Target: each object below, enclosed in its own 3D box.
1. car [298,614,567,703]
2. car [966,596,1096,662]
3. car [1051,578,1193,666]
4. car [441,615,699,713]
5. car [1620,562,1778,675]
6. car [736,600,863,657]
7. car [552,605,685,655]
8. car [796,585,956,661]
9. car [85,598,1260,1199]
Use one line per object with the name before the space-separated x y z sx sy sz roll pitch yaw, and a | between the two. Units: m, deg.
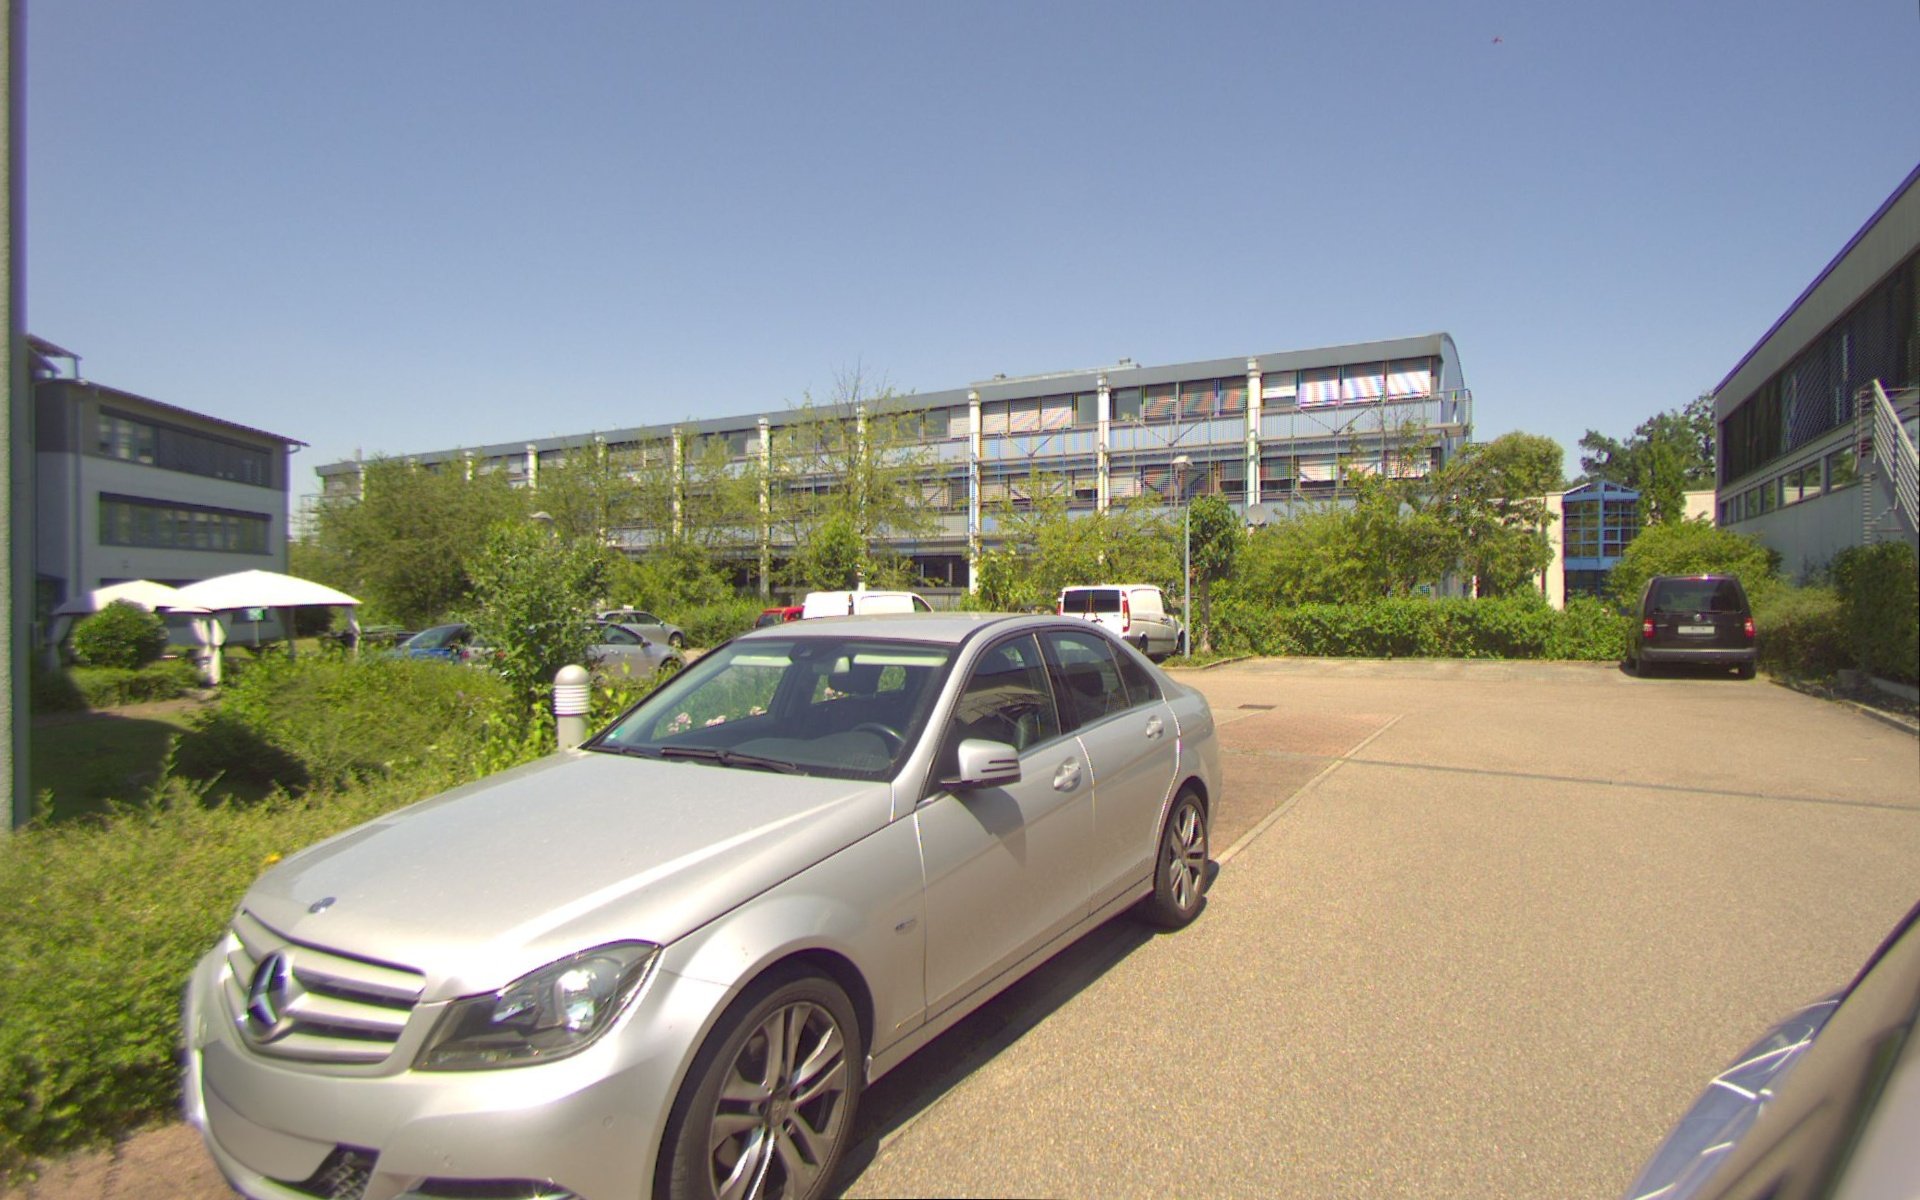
car | -10.425 1.076 20.372 1.840 1.513 4.565 -1 -1 29
car | 1.902 0.690 25.863 1.724 1.503 4.155 -1 0 29
car | 3.986 0.455 24.192 1.852 1.883 4.629 -2 0 29
car | -7.154 1.102 19.038 1.840 1.539 4.381 -1 -1 29
car | 13.837 0.296 19.189 1.852 1.883 4.186 -2 0 29
car | -4.712 0.813 30.185 1.612 1.507 3.878 -2 0 31
car | -11.349 0.956 33.858 1.726 1.503 4.038 -2 0 32
car | -2.190 0.570 27.907 1.842 1.879 4.880 -2 0 31
car | -0.355 0.730 3.977 1.792 1.416 4.368 -1 0 33
